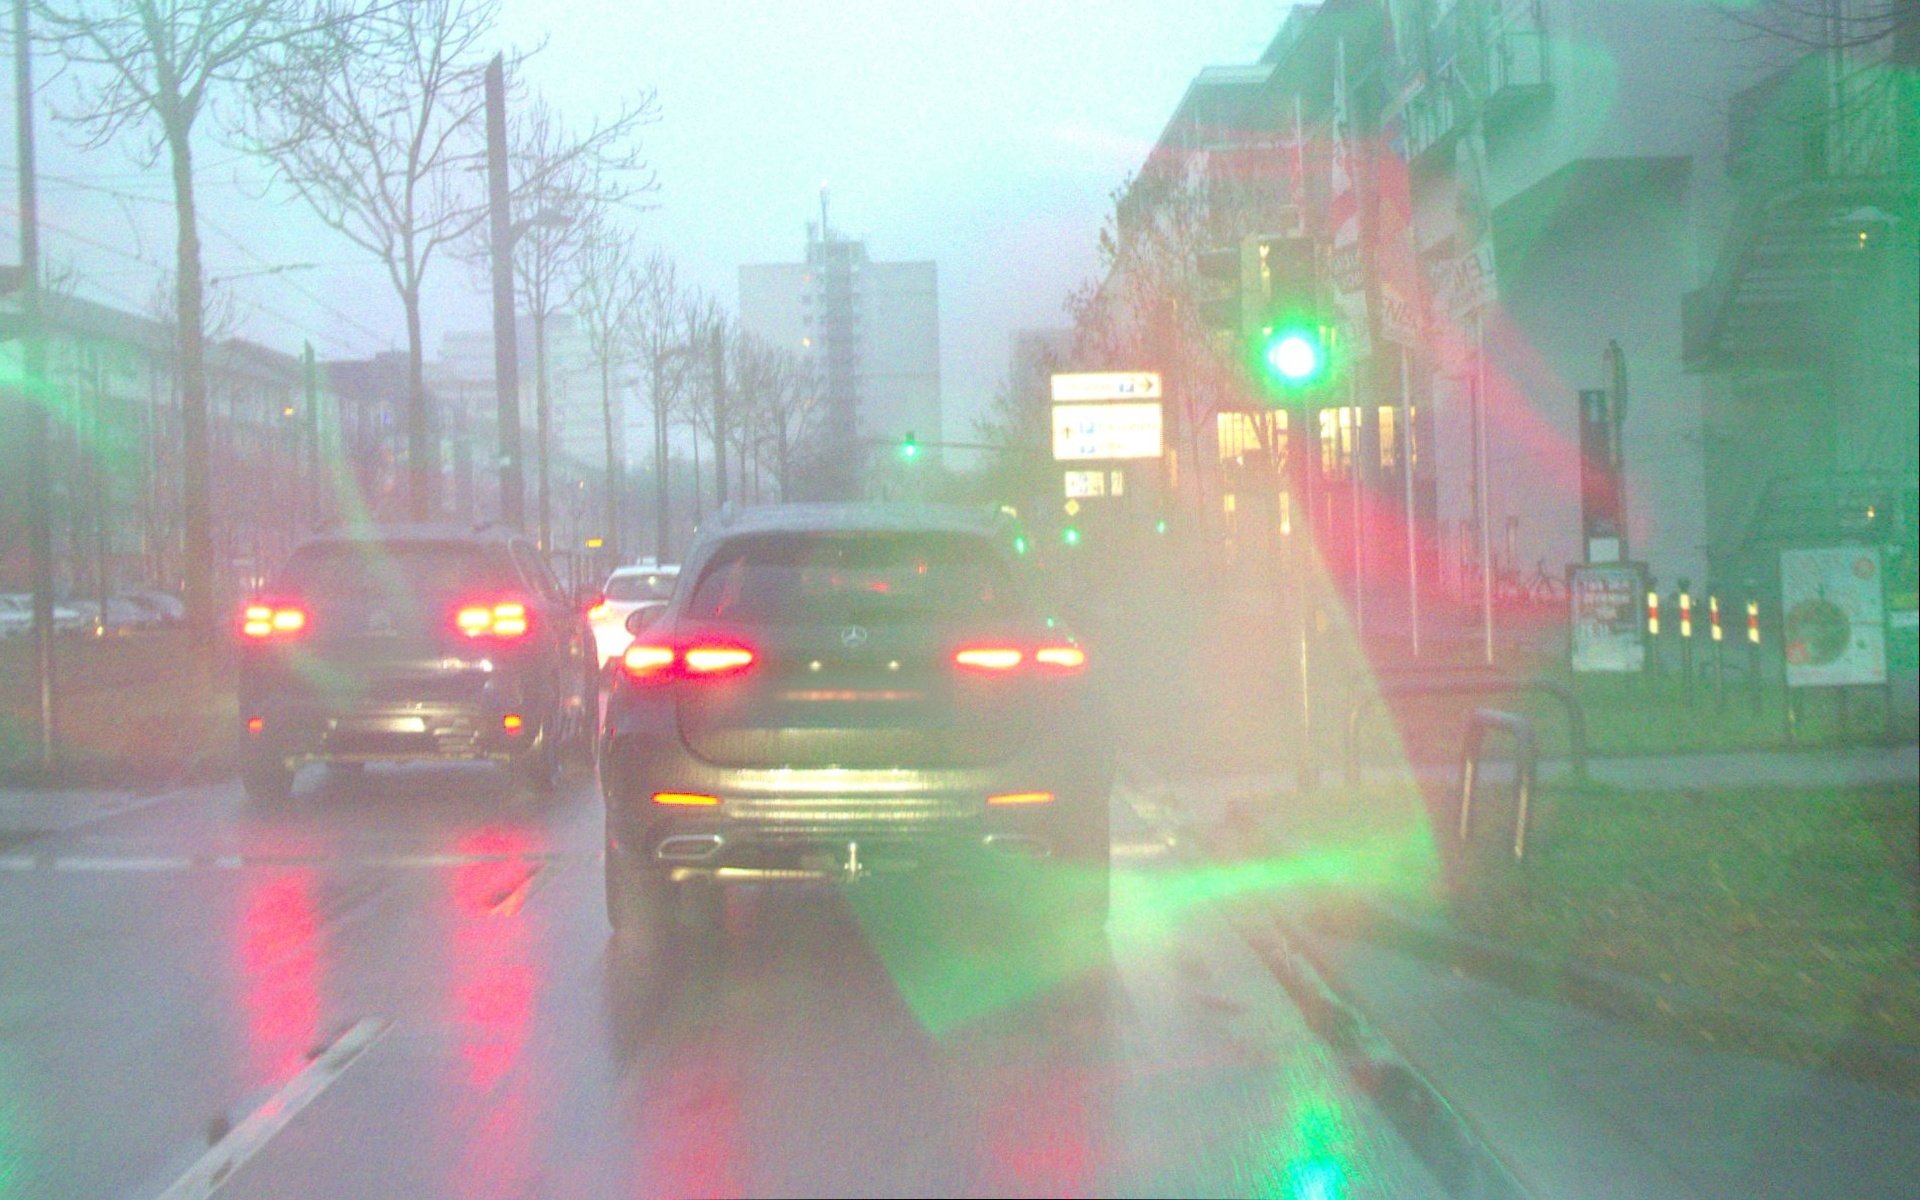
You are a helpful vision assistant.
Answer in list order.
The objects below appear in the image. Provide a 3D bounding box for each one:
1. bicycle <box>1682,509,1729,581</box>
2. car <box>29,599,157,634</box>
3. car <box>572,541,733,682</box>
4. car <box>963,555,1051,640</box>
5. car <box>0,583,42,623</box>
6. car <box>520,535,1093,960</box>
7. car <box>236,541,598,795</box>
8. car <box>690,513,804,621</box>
[{"bbox_3d":[13.476,-0.991,62.141,0.411,1.280,1.742,1,1,27],"label":"bicycle"},{"bbox_3d":[-29.146,0.552,115.557,4.183,1.112,1.678,1,1,30],"label":"car"},{"bbox_3d":[-3.677,0.112,41.582,1.689,1.630,3.474,0,1,-1],"label":"car"},{"bbox_3d":[1.016,-0.072,72.481,1.640,1.722,4.000,0,1,4],"label":"car"},{"bbox_3d":[-29.171,0.069,102.259,3.413,1.143,1.688,1,1,31],"label":"car"},{"bbox_3d":[-0.565,0.496,13.832,1.993,1.478,3.700,0,1,-1],"label":"car"},{"bbox_3d":[-3.306,0.358,21.611,1.817,1.445,4.001,0,1,-3],"label":"car"},{"bbox_3d":[-3.546,-0.548,57.727,1.662,1.753,3.568,0,0,0],"label":"car"}]
